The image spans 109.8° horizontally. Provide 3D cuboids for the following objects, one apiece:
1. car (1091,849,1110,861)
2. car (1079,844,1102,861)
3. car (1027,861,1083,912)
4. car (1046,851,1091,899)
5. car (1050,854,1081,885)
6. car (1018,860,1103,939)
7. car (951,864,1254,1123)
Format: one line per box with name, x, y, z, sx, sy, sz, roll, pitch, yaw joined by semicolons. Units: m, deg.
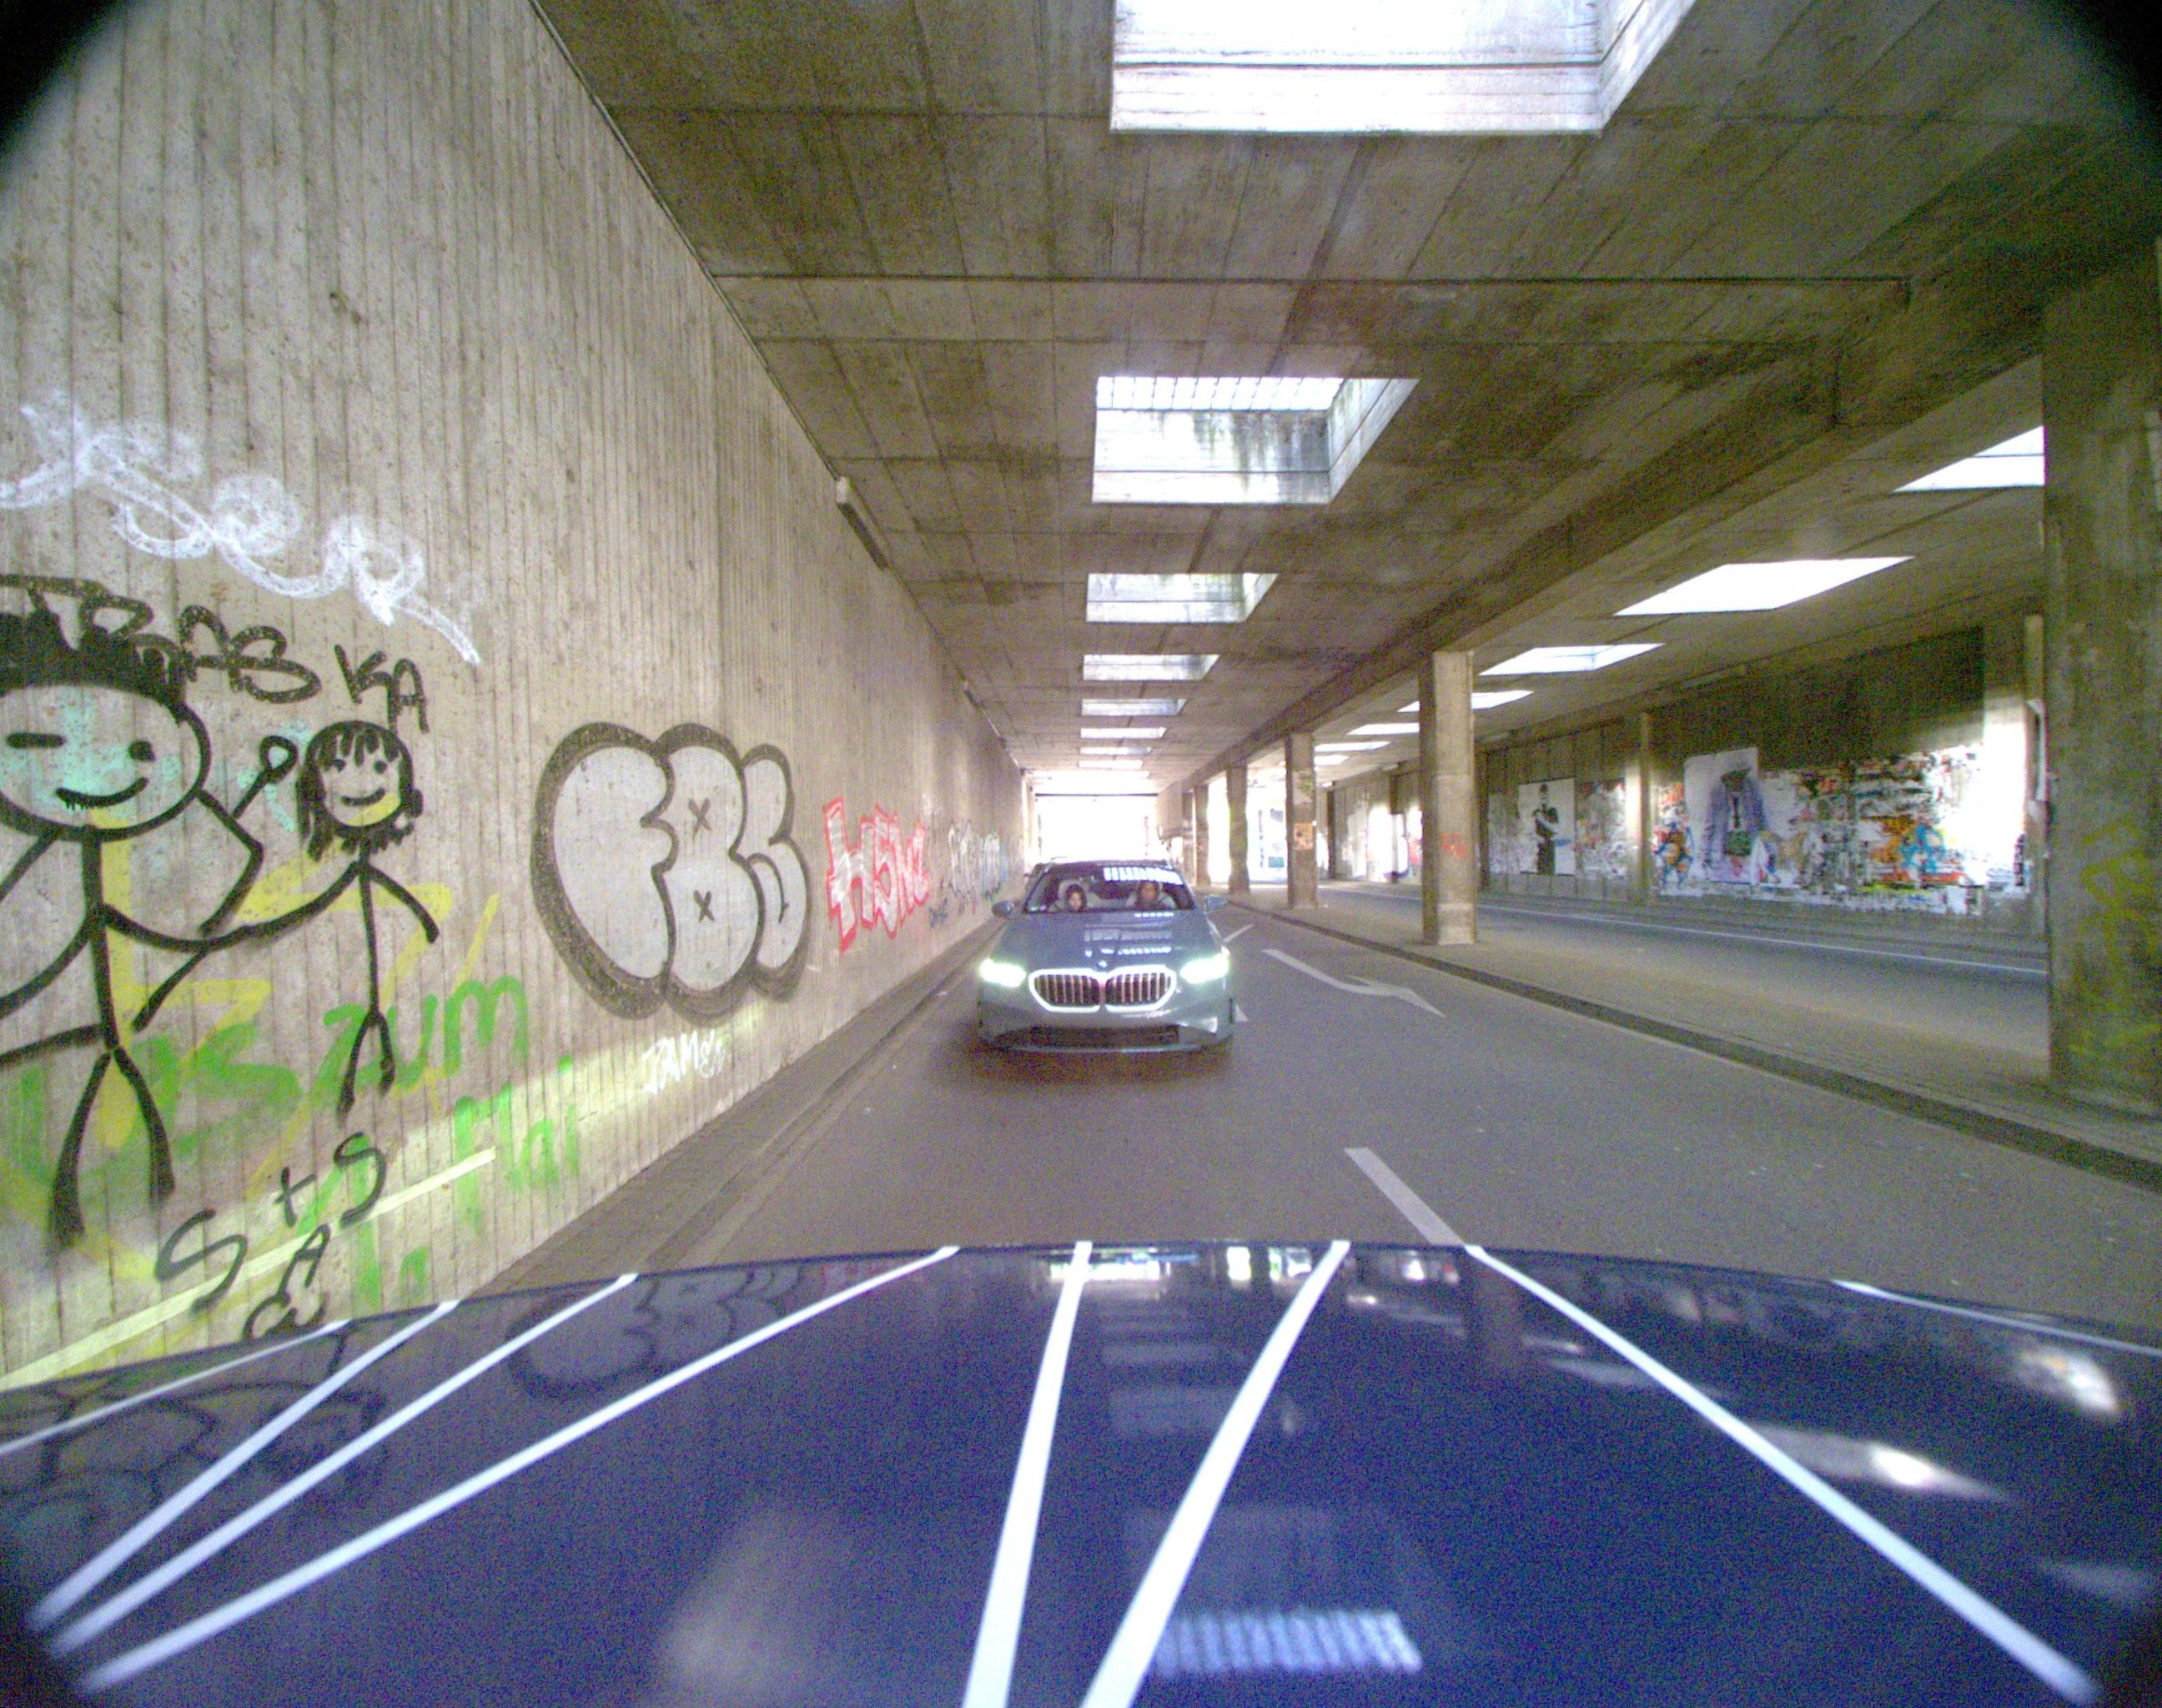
car;2.471;0.157;97.976;1.741;1.519;3.786;-2;0;-9
car;1.274;-0.172;103.668;2.161;2.150;4.785;-2;0;-12
car;-0.765;0.956;23.921;1.592;1.432;3.806;-2;0;0
car;-0.467;0.779;29.928;1.592;1.711;3.694;-2;0;0
car;-0.811;0.815;41.256;1.592;1.562;3.694;-2;0;0
car;-0.429;0.927;17.295;1.679;1.516;3.969;-2;0;0
car;0.125;0.911;7.286;1.861;1.516;5.042;-2;0;0
